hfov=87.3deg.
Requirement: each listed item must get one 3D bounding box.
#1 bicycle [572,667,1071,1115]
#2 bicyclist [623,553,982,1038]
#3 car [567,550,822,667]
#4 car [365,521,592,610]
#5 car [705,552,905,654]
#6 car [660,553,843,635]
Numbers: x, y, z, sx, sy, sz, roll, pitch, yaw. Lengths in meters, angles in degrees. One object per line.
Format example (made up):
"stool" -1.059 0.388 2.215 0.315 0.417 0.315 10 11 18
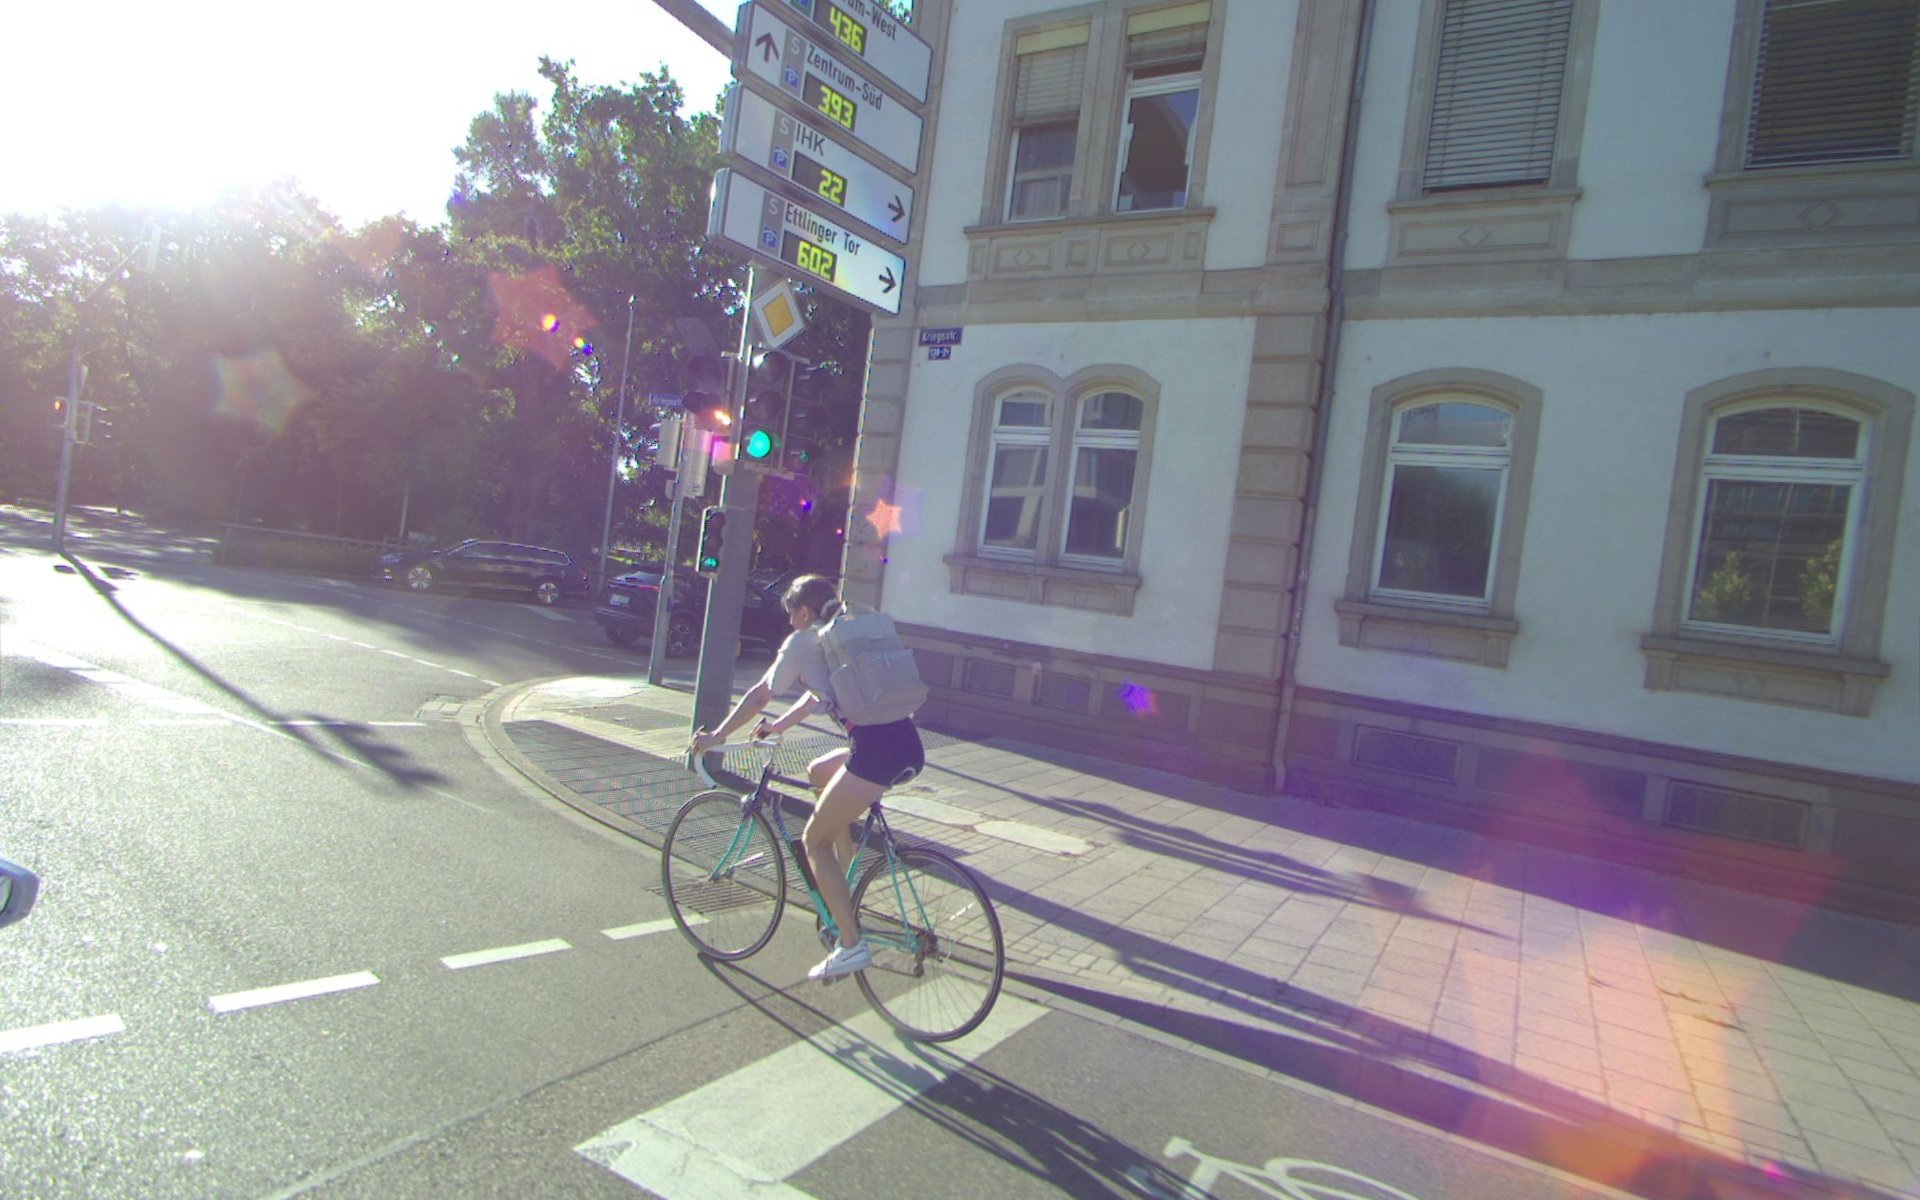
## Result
"bicycle" -0.583 0.948 3.784 1.811 1.111 0.521 8 1 31
"bicyclist" -0.605 0.653 3.812 1.063 1.509 0.553 8 1 31
"car" -4.696 0.212 18.262 1.875 1.546 4.044 8 -1 38
"car" -11.449 -0.795 24.055 4.560 1.492 1.885 8 0 -35
"car" -3.717 0.099 24.402 4.209 1.828 1.929 8 2 -35
"car" -5.784 -0.154 28.055 4.490 1.673 1.888 8 0 -31
